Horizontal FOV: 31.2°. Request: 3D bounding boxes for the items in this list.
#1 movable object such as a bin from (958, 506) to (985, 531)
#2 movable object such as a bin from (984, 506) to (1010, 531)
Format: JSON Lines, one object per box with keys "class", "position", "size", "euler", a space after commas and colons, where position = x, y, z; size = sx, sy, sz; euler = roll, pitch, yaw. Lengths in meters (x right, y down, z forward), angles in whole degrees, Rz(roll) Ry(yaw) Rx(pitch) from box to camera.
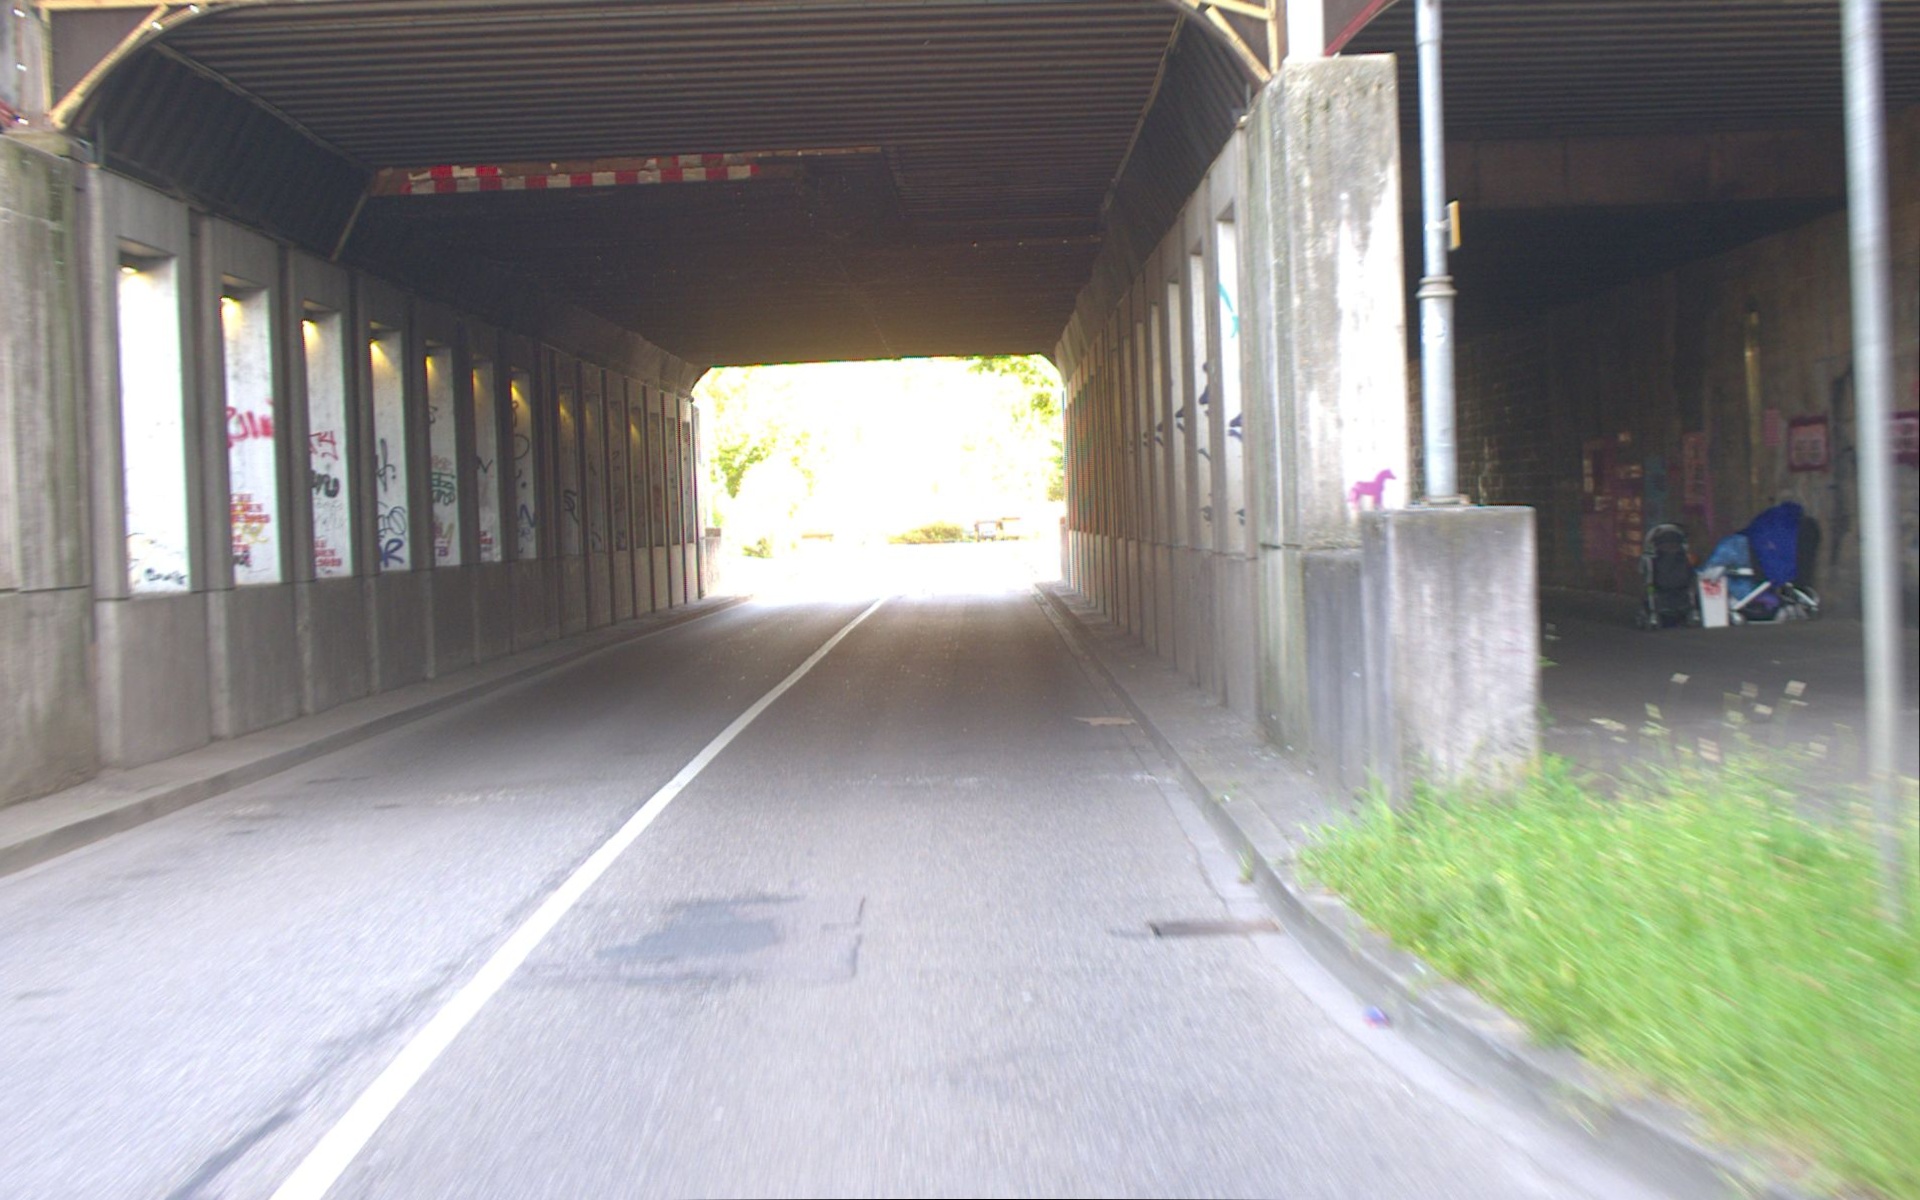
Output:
{"class": "movable object such as a bin", "position": [0.654, -4.548, 192.236], "size": [1.364, 1.413, 1.066], "euler": [0, 0, -6]}
{"class": "movable object such as a bin", "position": [2.072, -4.552, 192.430], "size": [1.364, 1.413, 1.066], "euler": [0, 0, -6]}
